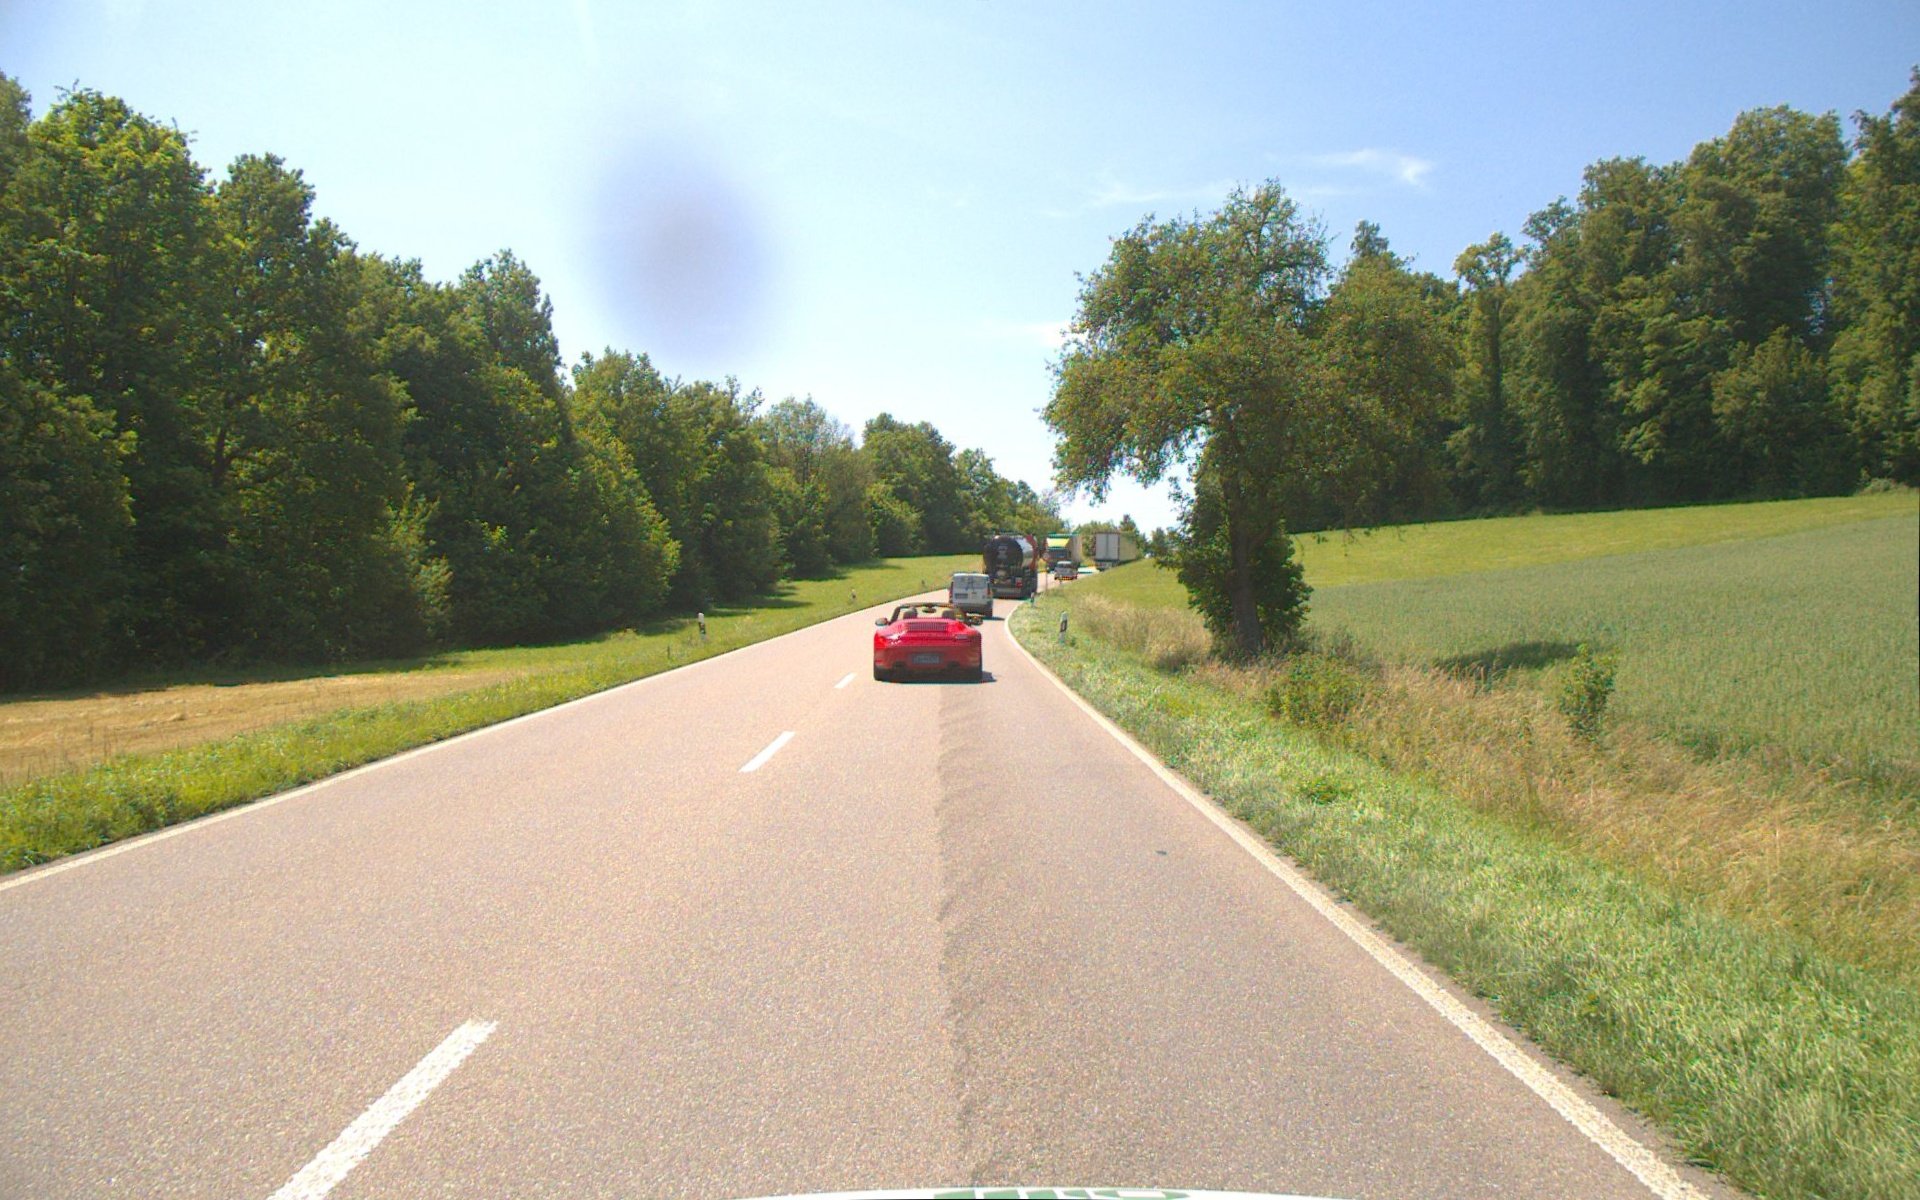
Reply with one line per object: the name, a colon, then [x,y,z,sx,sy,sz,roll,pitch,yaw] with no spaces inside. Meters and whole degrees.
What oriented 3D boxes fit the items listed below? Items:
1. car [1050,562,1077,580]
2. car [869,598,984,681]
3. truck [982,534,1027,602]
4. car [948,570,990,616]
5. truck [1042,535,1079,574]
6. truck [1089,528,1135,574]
car: [8.924,-2.507,142.345,1.792,1.540,4.195,0,2,10]
car: [-0.579,0.638,28.697,1.844,1.277,4.009,1,1,-1]
truck: [2.978,-2.023,107.028,2.353,4.120,12.557,1,1,4]
car: [0.433,-0.329,72.282,1.643,1.934,4.011,0,0,3]
truck: [10.109,-4.481,165.419,2.672,3.755,8.554,1,1,10]
truck: [16.144,-5.217,174.866,3.645,4.741,12.043,0,2,11]
